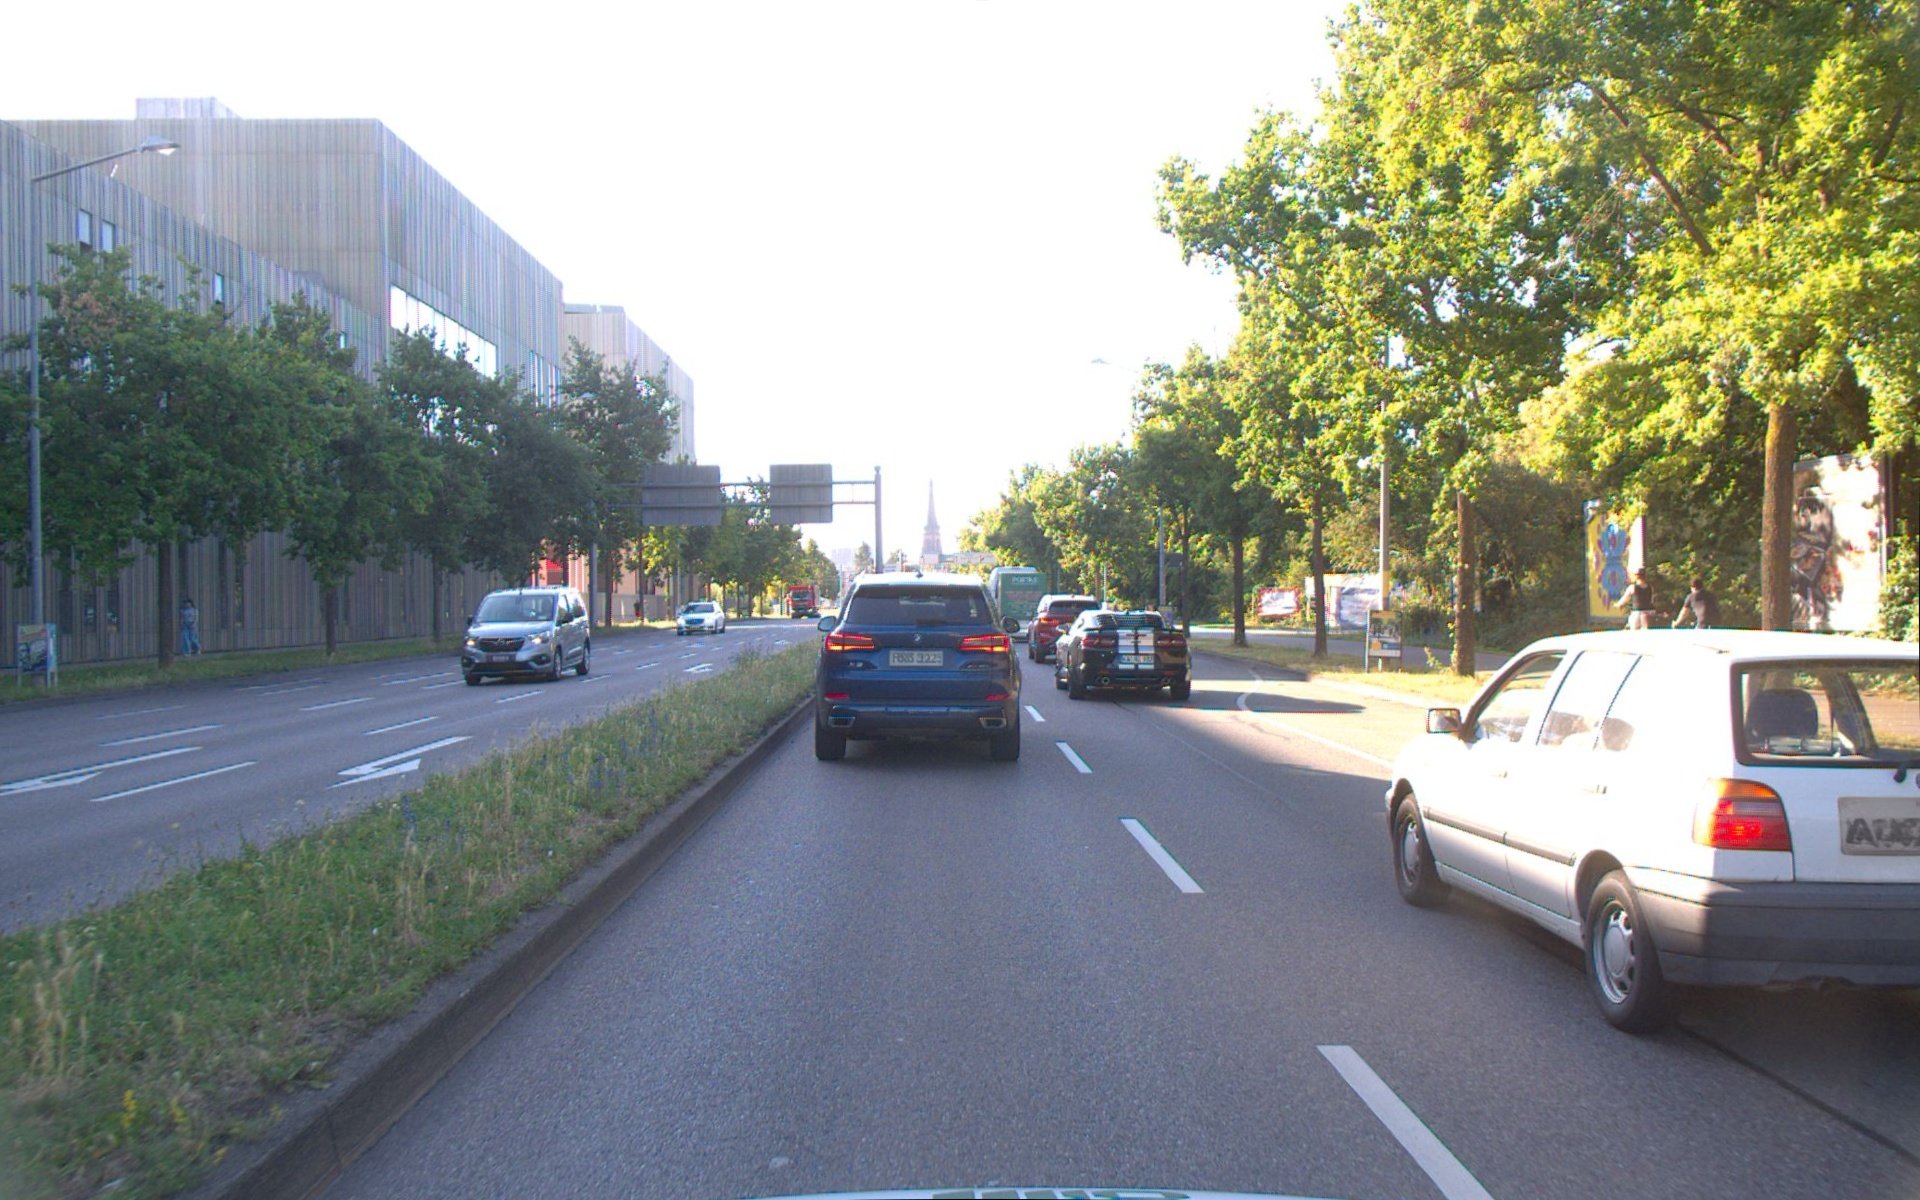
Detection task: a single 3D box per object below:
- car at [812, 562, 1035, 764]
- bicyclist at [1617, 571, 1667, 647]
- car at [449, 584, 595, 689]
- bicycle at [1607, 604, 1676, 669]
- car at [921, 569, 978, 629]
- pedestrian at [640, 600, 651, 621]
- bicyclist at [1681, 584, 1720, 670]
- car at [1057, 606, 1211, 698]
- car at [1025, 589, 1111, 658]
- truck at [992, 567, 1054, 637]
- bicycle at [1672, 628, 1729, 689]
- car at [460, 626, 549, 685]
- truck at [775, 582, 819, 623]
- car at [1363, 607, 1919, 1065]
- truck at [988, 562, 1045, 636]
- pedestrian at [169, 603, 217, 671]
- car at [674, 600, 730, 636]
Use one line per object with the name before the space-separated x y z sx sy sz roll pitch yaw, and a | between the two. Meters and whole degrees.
car | -0.354 0.597 16.870 1.953 1.764 4.531 1 -1 -1
bicyclist | 12.259 0.166 29.749 0.532 1.339 0.835 1 -1 -1
car | -8.612 0.714 32.896 1.721 1.808 4.492 -4 -1 -2
bicycle | 12.253 0.650 29.765 0.553 1.132 1.621 1 -1 -1
car | -0.498 0.012 74.962 2.095 2.621 5.080 1 -1 -6
pedestrian | -23.369 0.786 122.937 0.614 1.548 0.718 1 -1 2
bicyclist | 11.630 0.427 25.985 0.419 1.332 0.460 1 -1 -1
car | 2.668 0.795 26.205 1.953 1.317 3.999 1 -1 -1
car | 2.574 0.576 40.231 1.760 1.586 3.999 1 -1 -1
truck | 2.187 0.106 58.413 1.955 2.356 3.999 1 -1 -1
bicycle | 11.618 0.913 25.970 0.428 0.930 1.026 1 -1 -1
car | -14.995 1.794 54.699 1.721 1.734 4.492 -4 -1 -2
truck | -17.367 0.388 177.181 3.908 4.160 11.443 1 -1 -2
car | 3.099 0.788 7.269 1.547 1.438 4.060 1 -1 -2
truck | 2.125 -0.009 63.166 1.955 2.715 3.999 1 -1 -1
pedestrian | -23.450 1.118 50.571 0.998 2.049 0.961 1 -1 -1
car | -12.122 0.858 78.036 1.954 1.477 4.712 -4 -1 -2
